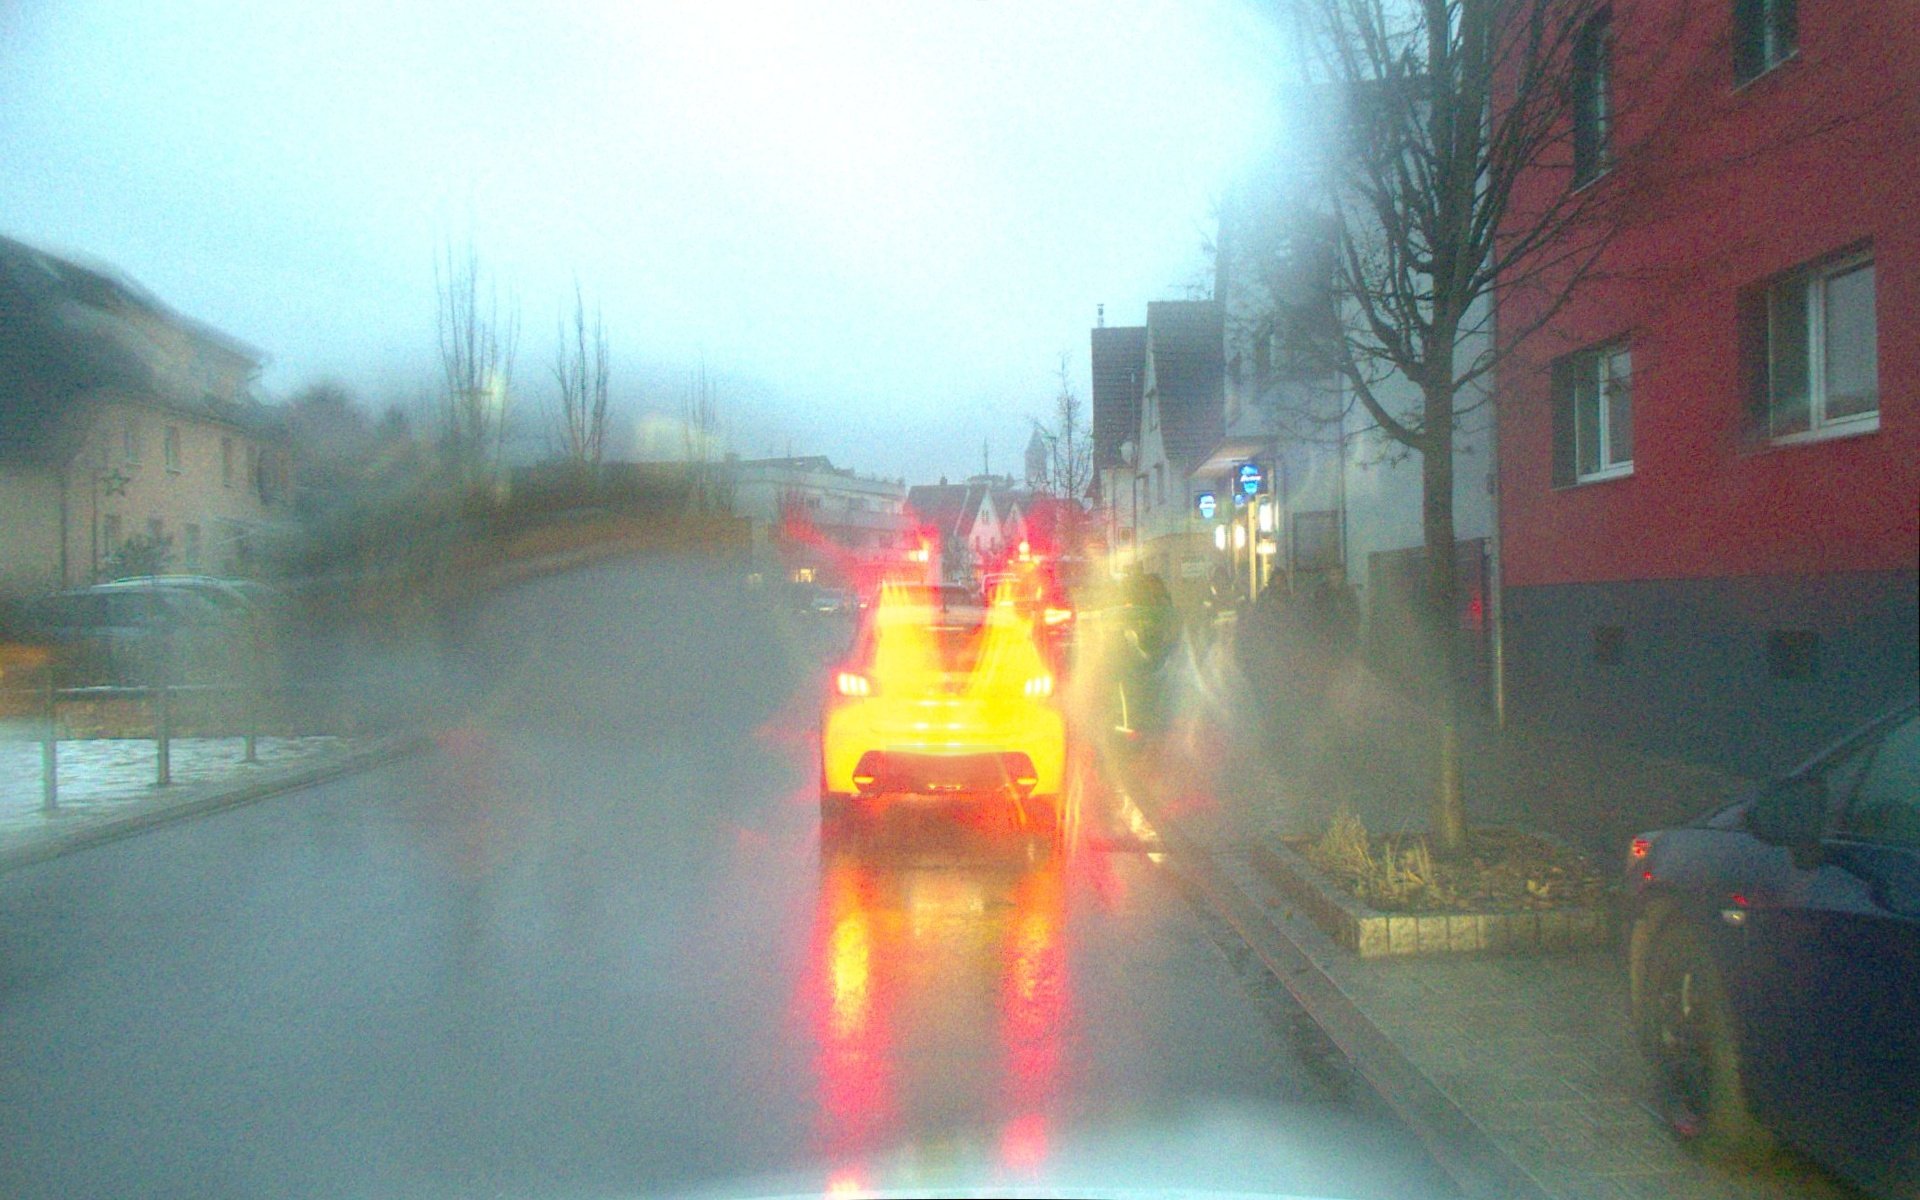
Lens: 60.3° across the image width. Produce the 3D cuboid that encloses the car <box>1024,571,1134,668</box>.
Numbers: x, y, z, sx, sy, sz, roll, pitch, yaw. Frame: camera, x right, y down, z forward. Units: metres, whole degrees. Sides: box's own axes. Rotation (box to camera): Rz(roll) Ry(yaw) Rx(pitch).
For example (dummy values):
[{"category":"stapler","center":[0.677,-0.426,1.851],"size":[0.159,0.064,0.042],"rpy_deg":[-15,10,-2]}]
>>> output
[{"category":"car","center":[2.254,0.353,32.253],"size":[1.700,1.722,4.385],"rpy_deg":[-1,0,-2]}]

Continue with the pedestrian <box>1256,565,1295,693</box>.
[{"category":"pedestrian","center":[4.593,0.407,24.106],"size":[0.517,1.832,0.865],"rpy_deg":[0,0,9]}]

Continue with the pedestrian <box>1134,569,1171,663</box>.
[{"category":"pedestrian","center":[3.610,0.298,31.074],"size":[0.561,1.729,0.653],"rpy_deg":[-2,-1,0]}]

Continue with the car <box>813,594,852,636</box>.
[{"category":"car","center":[-6.688,0.819,86.894],"size":[1.881,2.063,3.972],"rpy_deg":[1,-2,-3]}]

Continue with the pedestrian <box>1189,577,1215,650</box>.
[{"category":"pedestrian","center":[5.846,0.327,39.936],"size":[0.605,1.757,0.502],"rpy_deg":[0,-2,11]}]

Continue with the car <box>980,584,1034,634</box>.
[{"category":"car","center":[1.785,0.359,64.242],"size":[1.957,1.897,4.082],"rpy_deg":[0,0,-1]}]

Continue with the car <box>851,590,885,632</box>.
[{"category":"car","center":[-5.274,0.667,94.863],"size":[1.881,2.254,3.972],"rpy_deg":[1,-2,-3]}]

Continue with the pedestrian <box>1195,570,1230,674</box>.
[{"category":"pedestrian","center":[4.172,0.348,27.289],"size":[0.469,1.659,1.020],"rpy_deg":[-2,1,12]}]

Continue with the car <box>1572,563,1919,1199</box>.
[{"category":"car","center":[2.756,0.665,3.070],"size":[1.693,1.490,4.199],"rpy_deg":[-3,1,1]}]

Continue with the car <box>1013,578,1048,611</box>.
[{"category":"car","center":[4.431,-0.312,103.216],"size":[1.830,1.867,4.446],"rpy_deg":[0,-2,7]}]

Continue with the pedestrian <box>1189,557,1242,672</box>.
[{"category":"pedestrian","center":[3.996,0.215,25.801],"size":[0.697,1.745,1.035],"rpy_deg":[-2,1,13]}]

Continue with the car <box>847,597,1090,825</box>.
[{"category":"car","center":[0.034,0.707,12.086],"size":[1.531,1.437,3.017],"rpy_deg":[1,0,-1]}]

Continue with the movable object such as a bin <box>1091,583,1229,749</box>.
[{"category":"movable object such as a bin","center":[1.899,0.603,15.959],"size":[1.106,1.445,1.417],"rpy_deg":[-4,1,1]}]

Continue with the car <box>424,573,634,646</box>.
[{"category":"car","center":[-10.255,0.243,39.606],"size":[4.533,1.697,1.999],"rpy_deg":[0,-1,-4]}]

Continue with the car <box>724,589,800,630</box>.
[{"category":"car","center":[-11.209,0.546,93.531],"size":[4.310,2.204,1.987],"rpy_deg":[-1,-3,43]}]

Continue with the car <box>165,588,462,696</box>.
[{"category":"car","center":[-10.074,0.644,25.932],"size":[4.008,1.636,1.588],"rpy_deg":[0,-1,2]}]

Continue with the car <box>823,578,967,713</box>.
[{"category":"car","center":[-0.801,0.558,22.384],"size":[1.730,1.657,3.586],"rpy_deg":[1,0,1]}]

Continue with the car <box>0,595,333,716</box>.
[{"category":"car","center":[-9.832,0.662,20.665],"size":[3.375,1.396,1.600],"rpy_deg":[-1,0,-2]}]

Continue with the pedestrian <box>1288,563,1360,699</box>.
[{"category":"pedestrian","center":[4.736,0.399,21.573],"size":[0.731,1.708,1.052],"rpy_deg":[-2,-1,5]}]

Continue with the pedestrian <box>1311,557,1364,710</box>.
[{"category":"pedestrian","center":[4.281,0.387,18.804],"size":[0.517,1.682,0.954],"rpy_deg":[0,-2,9]}]

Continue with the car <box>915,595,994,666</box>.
[{"category":"car","center":[-0.135,0.601,33.968],"size":[1.510,1.355,3.310],"rpy_deg":[1,0,-1]}]

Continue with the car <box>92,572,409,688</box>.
[{"category":"car","center":[-9.930,0.408,23.306],"size":[3.713,1.549,1.716],"rpy_deg":[0,-1,6]}]

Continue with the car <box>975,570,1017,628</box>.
[{"category":"car","center":[1.639,0.004,76.624],"size":[1.832,2.512,4.443],"rpy_deg":[1,-2,0]}]
